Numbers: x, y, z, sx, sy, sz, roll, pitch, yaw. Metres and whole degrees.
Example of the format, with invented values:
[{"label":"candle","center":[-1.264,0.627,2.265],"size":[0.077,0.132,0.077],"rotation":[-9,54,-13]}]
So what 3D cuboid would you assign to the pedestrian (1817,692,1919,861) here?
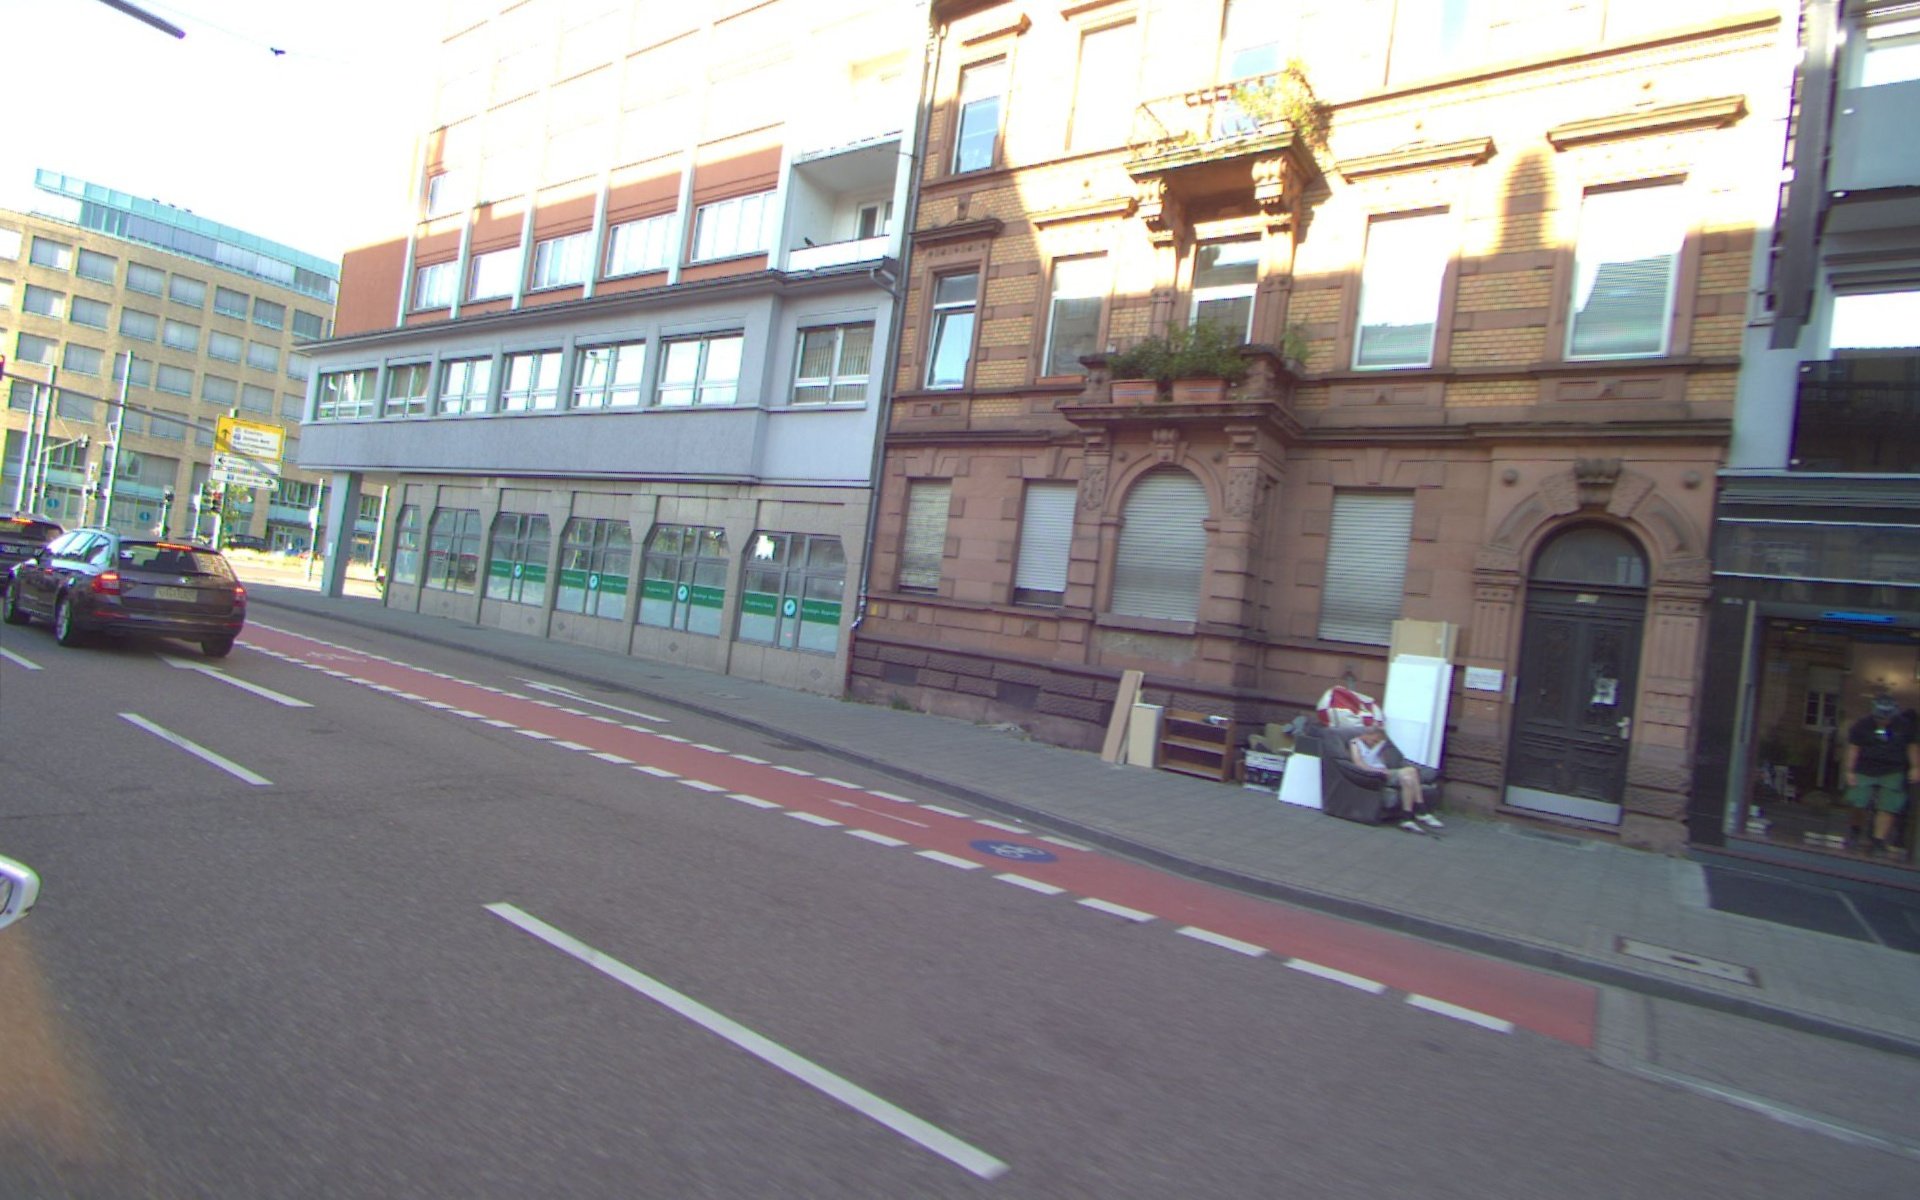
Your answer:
[{"label":"pedestrian","center":[9.893,1.884,10.918],"size":[0.682,1.662,0.707],"rotation":[7,-1,36]}]

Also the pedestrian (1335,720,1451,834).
[{"label":"pedestrian","center":[4.800,1.937,11.153],"size":[0.931,1.055,0.690],"rotation":[7,-1,40]}]

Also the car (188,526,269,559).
[{"label":"car","center":[-52.338,-4.084,72.043],"size":[1.970,1.633,4.230],"rotation":[7,-2,38]}]

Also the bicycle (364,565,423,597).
[{"label":"bicycle","center":[-25.334,-0.843,45.010],"size":[0.731,1.130,2.087],"rotation":[7,-1,35]}]

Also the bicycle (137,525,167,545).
[{"label":"bicycle","center":[-58.375,-4.723,72.681],"size":[0.468,1.186,1.517],"rotation":[7,-2,43]}]

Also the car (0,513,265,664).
[{"label":"car","center":[-11.074,-0.194,13.354],"size":[4.094,1.474,1.708],"rotation":[7,-2,37]}]

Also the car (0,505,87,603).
[{"label":"car","center":[-17.706,-0.994,18.389],"size":[4.174,1.501,1.652],"rotation":[7,-3,37]}]

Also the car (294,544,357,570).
[{"label":"car","center":[-48.575,-3.270,77.077],"size":[1.695,1.358,3.610],"rotation":[7,-2,37]}]

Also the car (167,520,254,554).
[{"label":"car","center":[-54.934,-4.597,73.820],"size":[1.968,1.616,4.654],"rotation":[7,-2,34]}]

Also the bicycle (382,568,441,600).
[{"label":"bicycle","center":[-24.064,-0.696,44.171],"size":[0.731,1.130,2.087],"rotation":[7,-1,35]}]
